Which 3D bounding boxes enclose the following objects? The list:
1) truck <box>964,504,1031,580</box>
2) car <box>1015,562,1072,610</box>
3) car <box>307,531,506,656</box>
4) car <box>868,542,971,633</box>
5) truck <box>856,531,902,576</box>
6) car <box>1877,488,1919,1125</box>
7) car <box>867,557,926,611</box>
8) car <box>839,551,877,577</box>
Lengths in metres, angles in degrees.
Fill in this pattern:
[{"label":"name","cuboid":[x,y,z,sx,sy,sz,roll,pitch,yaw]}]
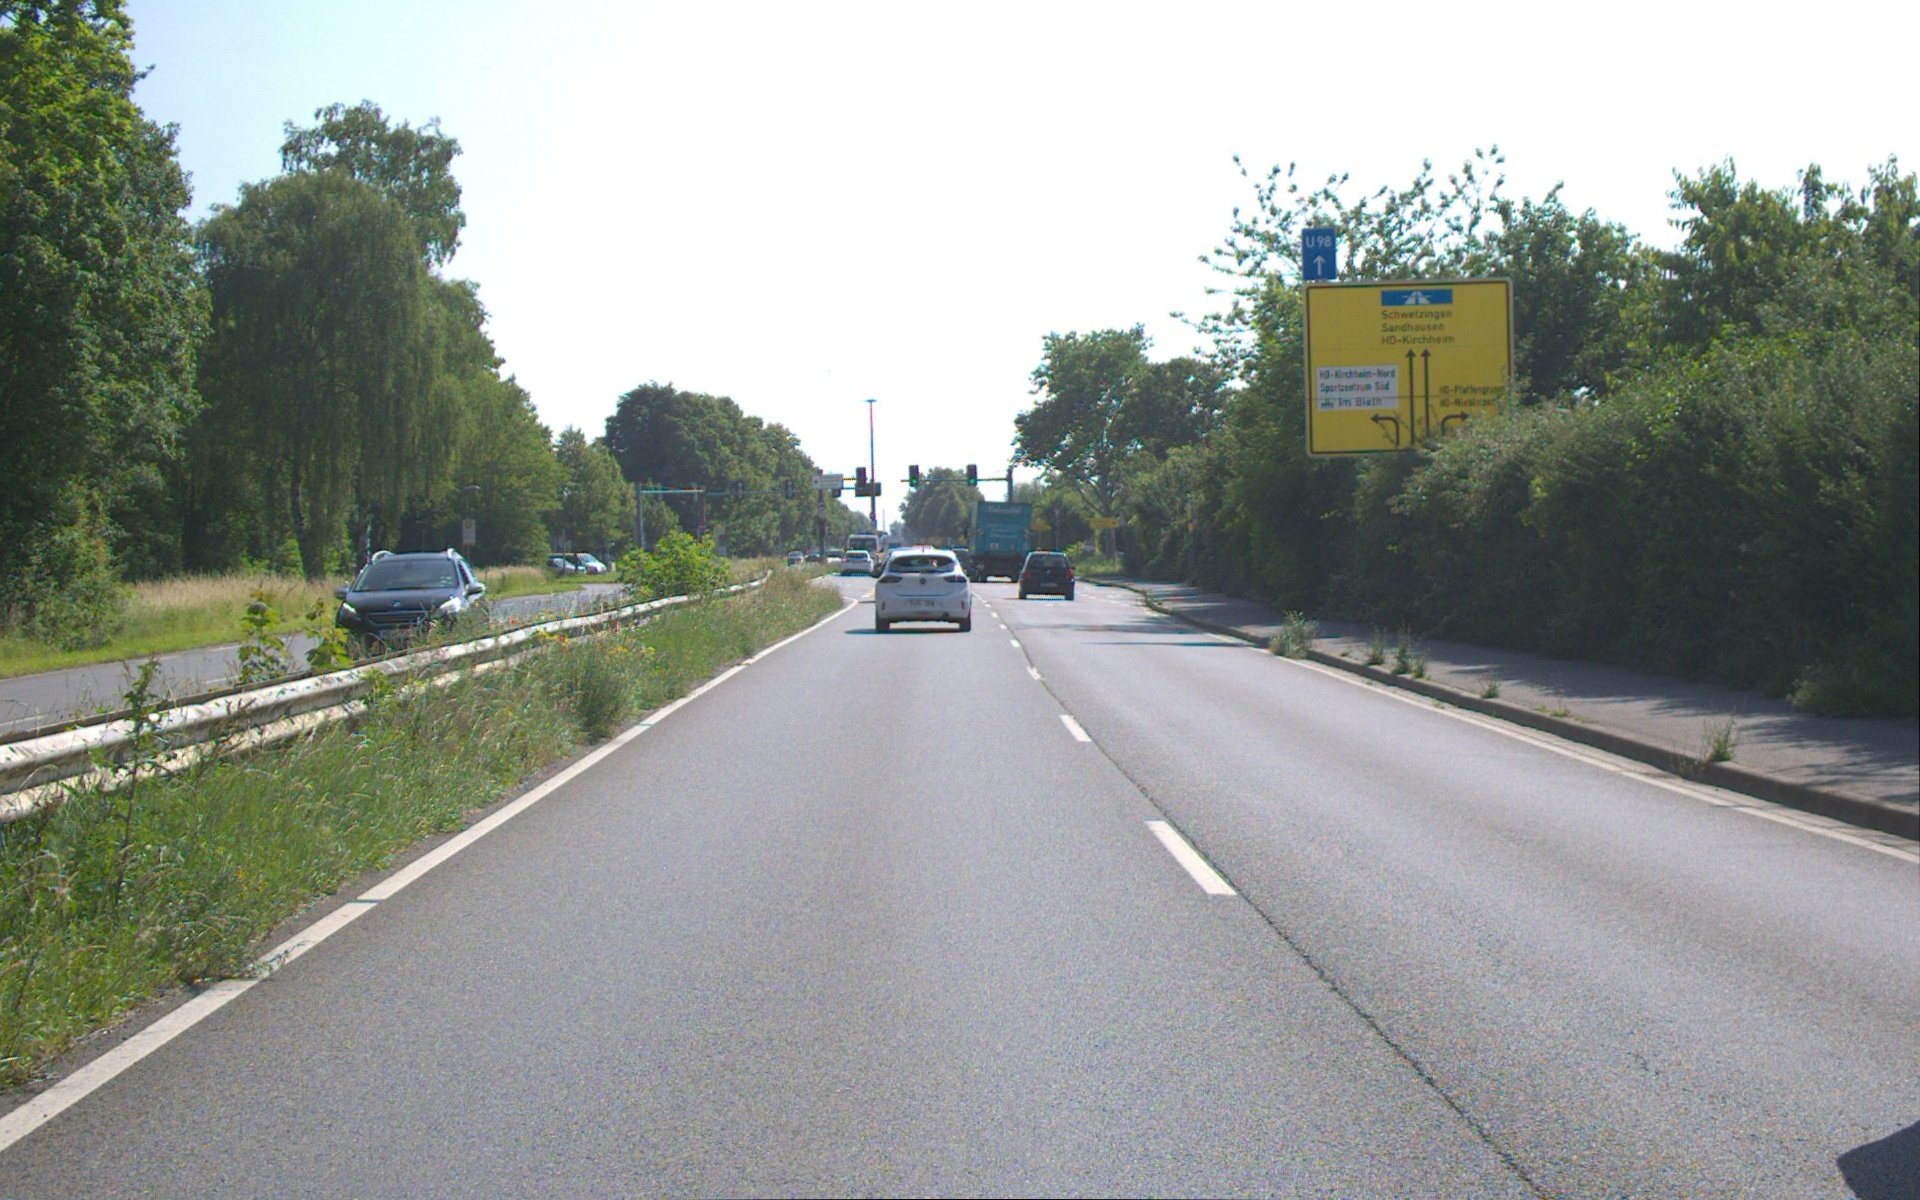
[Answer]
[{"label":"truck","cuboid":[1.741,-2.748,162.833,2.891,3.417,9.169,-1,1,-1]},{"label":"car","cuboid":[2.468,-0.411,102.361,1.572,1.410,3.277,0,0,0]},{"label":"car","cuboid":[-7.337,-0.112,45.922,1.779,1.525,4.161,-2,1,2]},{"label":"car","cuboid":[-0.707,-0.252,61.824,1.798,1.547,4.000,0,1,0]},{"label":"truck","cuboid":[-4.763,-2.743,203.128,2.374,2.380,6.041,2,3,1]},{"label":"car","cuboid":[3.524,0.601,7.081,1.902,1.674,4.684,2,1,-1]},{"label":"car","cuboid":[-1.754,-0.457,95.804,1.572,1.409,3.278,-1,1,-1]},{"label":"car","cuboid":[-5.804,-2.059,196.042,1.812,1.459,4.970,-1,0,2]}]
